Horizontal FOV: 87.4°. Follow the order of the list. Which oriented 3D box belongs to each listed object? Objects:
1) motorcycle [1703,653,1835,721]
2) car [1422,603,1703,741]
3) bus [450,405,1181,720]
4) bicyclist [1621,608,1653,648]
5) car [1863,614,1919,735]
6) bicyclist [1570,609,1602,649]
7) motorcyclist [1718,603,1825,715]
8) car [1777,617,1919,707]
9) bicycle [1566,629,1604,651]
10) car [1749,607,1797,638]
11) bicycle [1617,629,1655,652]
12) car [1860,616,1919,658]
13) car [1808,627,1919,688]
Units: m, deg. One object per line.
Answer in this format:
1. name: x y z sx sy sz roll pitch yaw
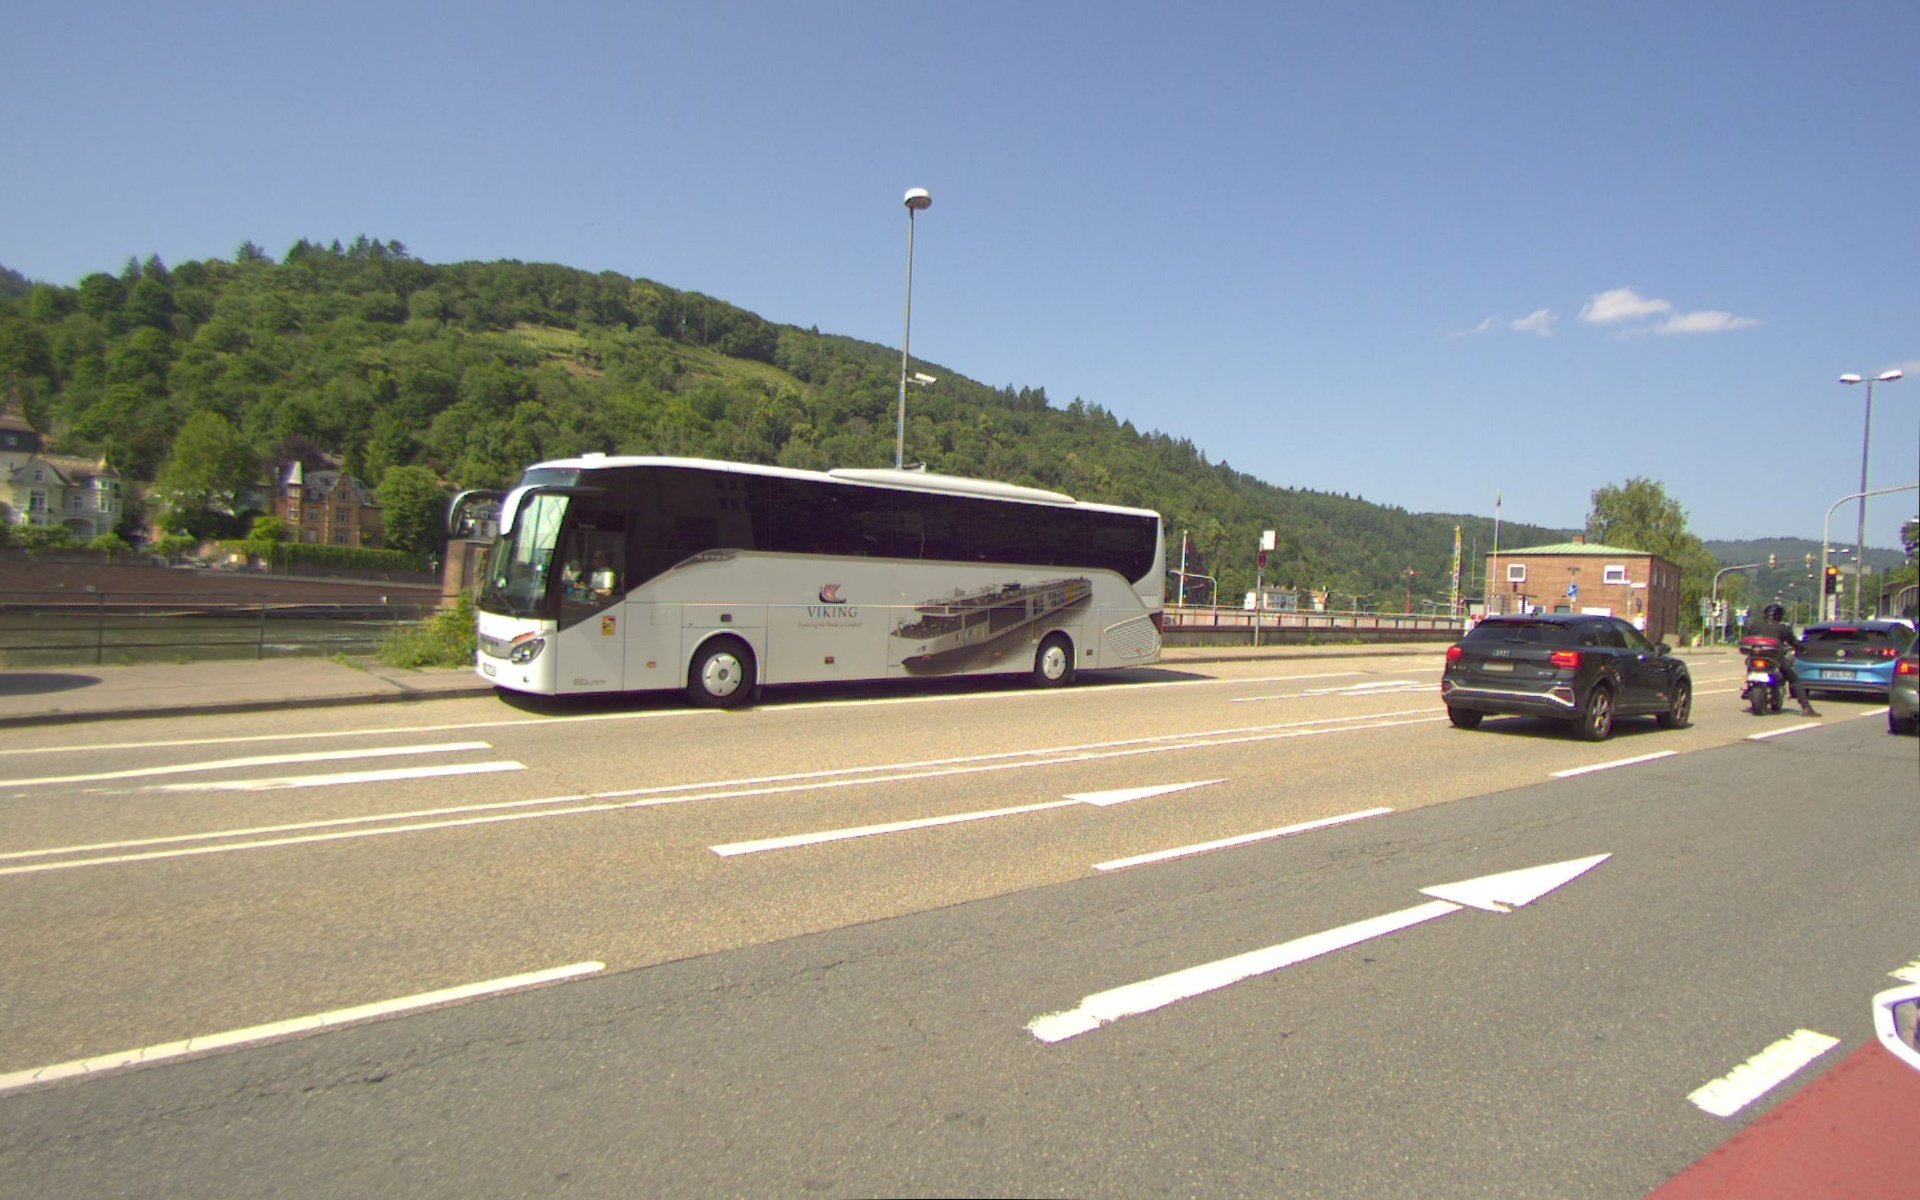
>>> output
1. motorcycle: 13.094 1.367 16.224 2.580 0.932 1.030 1 0 -36
2. car: 8.125 0.873 13.422 4.114 1.534 1.855 2 0 -38
3. bus: -1.426 -0.466 17.698 13.139 3.852 2.930 1 4 -41
4. bicyclist: 35.269 1.456 52.357 1.200 2.040 1.112 0 -1 44
5. car: 14.279 1.026 13.843 4.264 1.541 1.875 2 0 -36
6. bicyclist: 32.600 1.517 52.309 1.199 2.040 1.112 1 0 44
7. motorcyclist: 12.999 0.913 16.102 1.145 1.707 1.068 1 0 -36
8. car: 18.038 1.168 20.047 3.964 1.583 1.852 1 0 -38
9. bicycle: 32.520 2.053 52.215 1.200 1.105 2.582 0 -1 43
10. car: 57.455 1.541 70.968 2.191 2.106 5.012 1 0 44
11. bicycle: 35.220 2.102 52.317 1.200 1.105 2.582 0 -1 43
12. car: 61.743 2.419 66.751 2.353 2.611 6.032 1 -1 37
13. car: 23.367 1.409 25.654 3.964 1.377 1.852 1 0 -38
